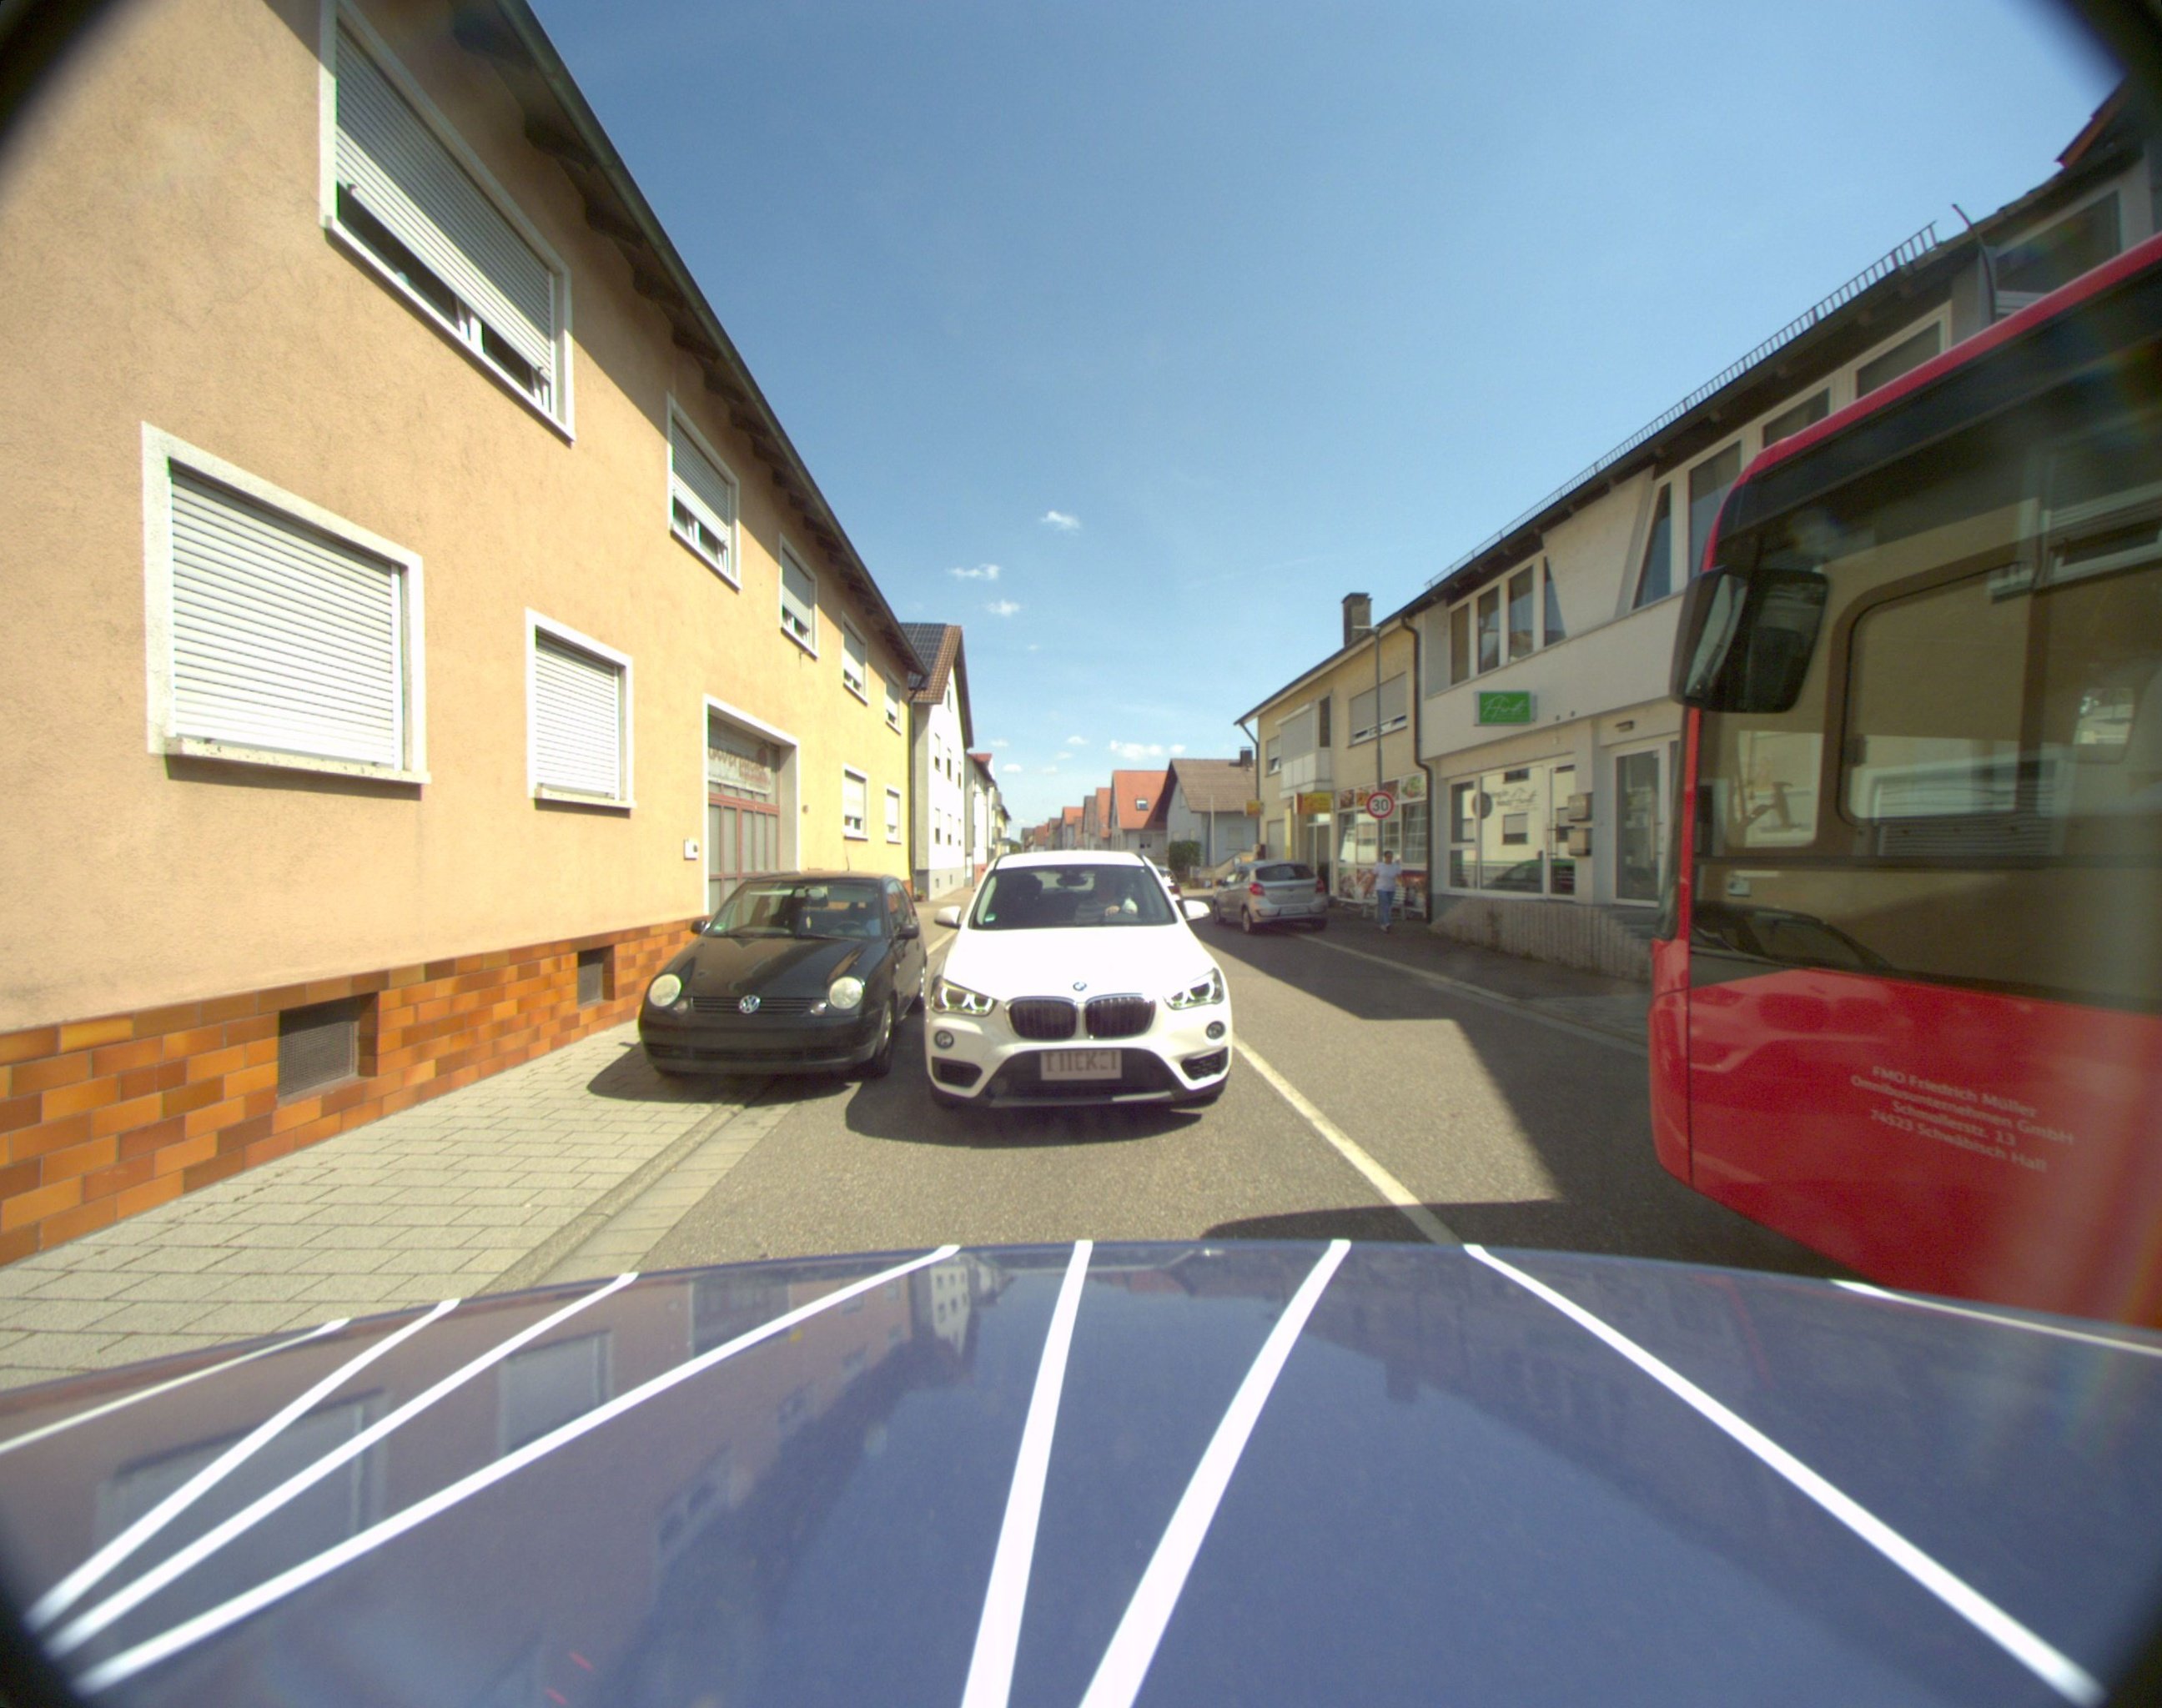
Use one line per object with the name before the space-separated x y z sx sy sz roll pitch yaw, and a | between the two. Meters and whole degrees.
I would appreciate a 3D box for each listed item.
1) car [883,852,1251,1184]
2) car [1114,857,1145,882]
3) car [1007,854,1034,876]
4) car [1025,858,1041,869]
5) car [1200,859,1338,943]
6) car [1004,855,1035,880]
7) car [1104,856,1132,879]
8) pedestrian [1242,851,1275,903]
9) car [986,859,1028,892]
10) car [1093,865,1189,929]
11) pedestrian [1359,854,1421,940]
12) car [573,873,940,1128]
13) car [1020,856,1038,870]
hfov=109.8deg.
car | -0.160 0.857 6.128 1.845 1.636 4.373 -2 0 -3
car | 2.864 0.914 45.705 1.458 1.362 3.383 -3 0 -2
car | -4.123 0.733 52.405 1.765 1.420 4.188 0 0 -3
car | -5.976 1.168 94.384 1.765 1.420 4.187 0 0 -6
car | 4.067 0.946 17.116 1.749 1.507 3.998 -4 1 -5
car | -3.677 0.804 45.977 1.765 1.420 4.188 0 0 -3
car | 2.385 0.871 50.074 1.442 1.362 3.383 -3 0 -3
pedestrian | 5.581 0.719 23.986 0.757 1.574 0.956 -2 1 -1
car | -3.384 0.957 35.225 1.765 1.420 4.188 0 0 -3
car | 1.400 1.014 19.208 1.765 1.389 3.868 1 0 -6
pedestrian | 5.997 0.814 14.804 0.757 1.574 0.956 -2 1 -1
car | -2.302 0.947 6.436 1.691 1.454 3.628 2 0 -3
car | -5.168 0.896 75.823 1.765 1.420 4.188 0 0 -3
